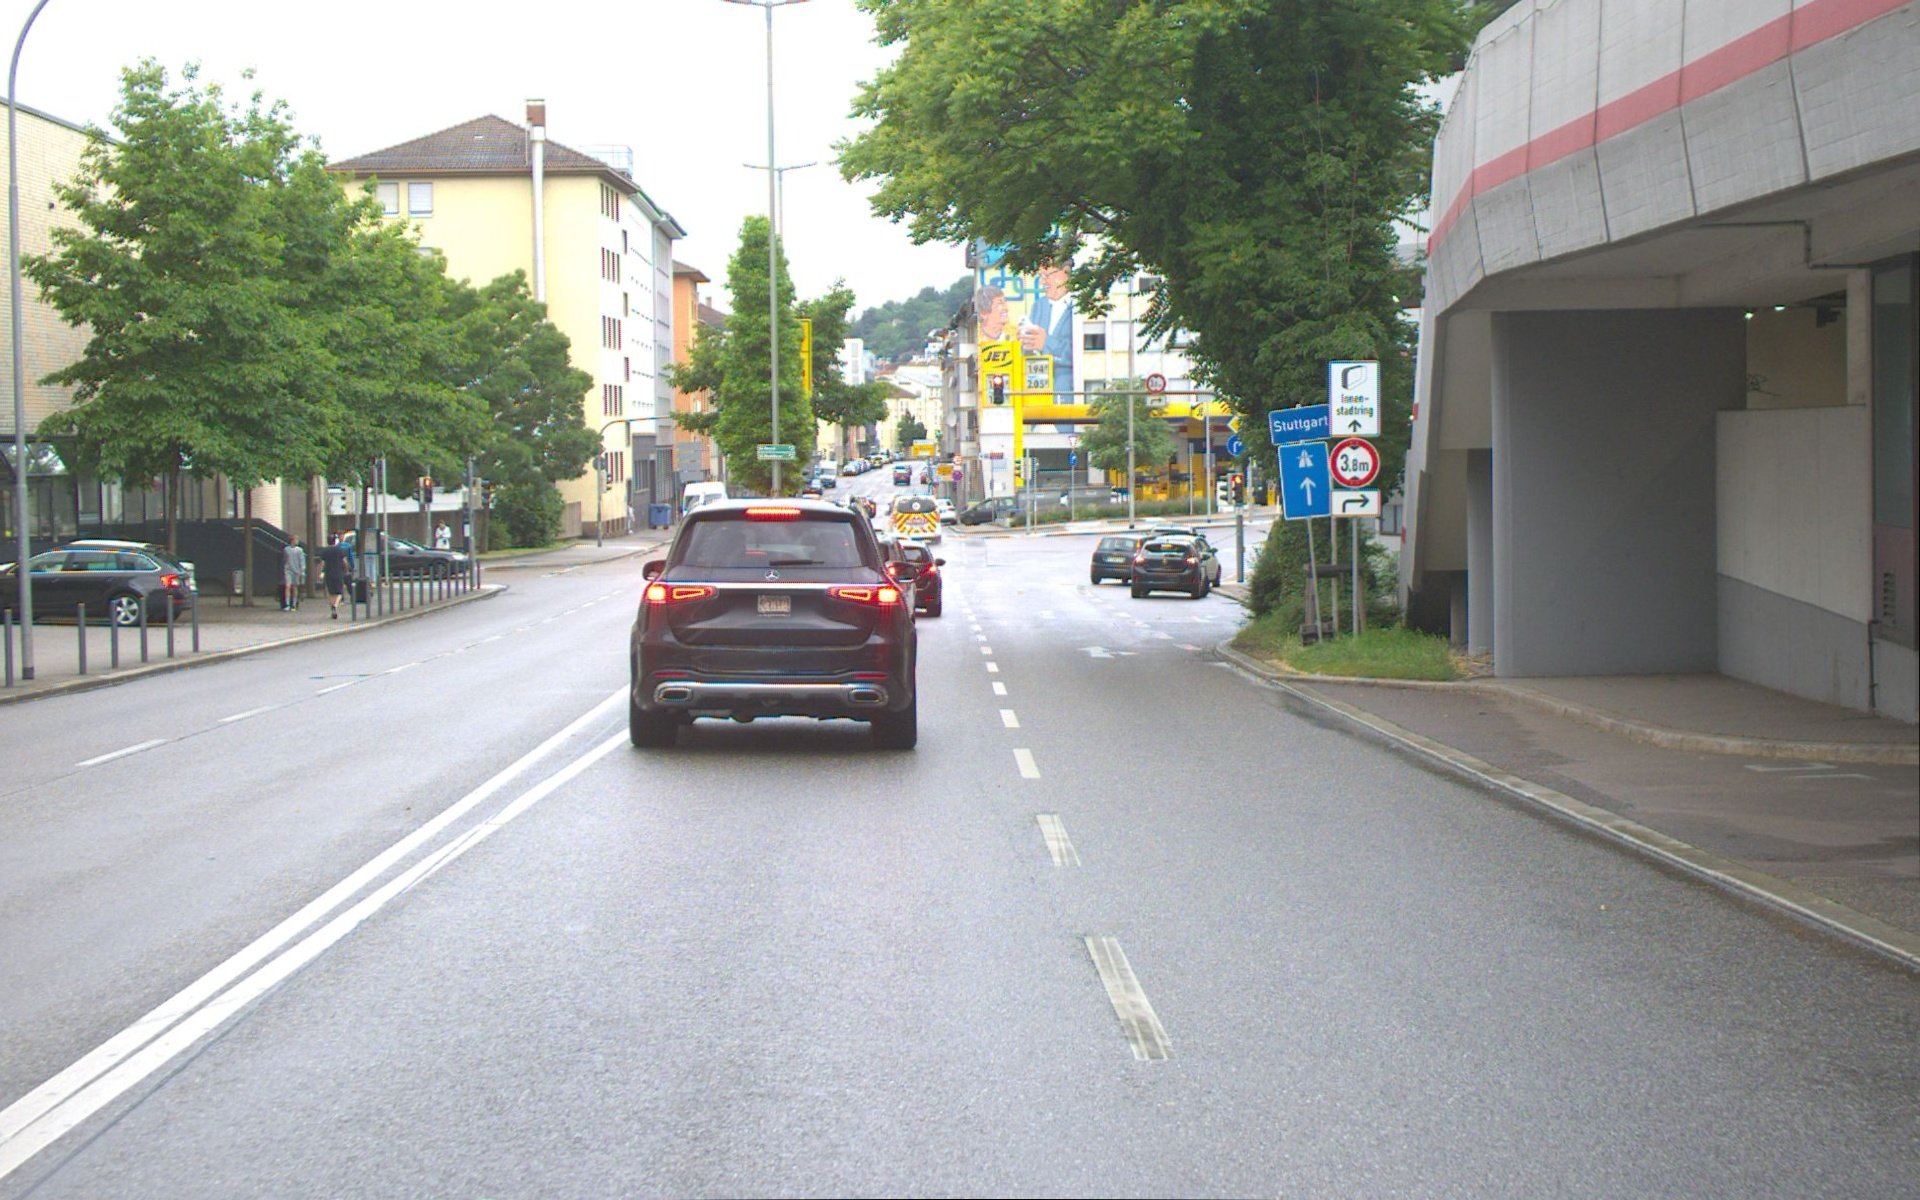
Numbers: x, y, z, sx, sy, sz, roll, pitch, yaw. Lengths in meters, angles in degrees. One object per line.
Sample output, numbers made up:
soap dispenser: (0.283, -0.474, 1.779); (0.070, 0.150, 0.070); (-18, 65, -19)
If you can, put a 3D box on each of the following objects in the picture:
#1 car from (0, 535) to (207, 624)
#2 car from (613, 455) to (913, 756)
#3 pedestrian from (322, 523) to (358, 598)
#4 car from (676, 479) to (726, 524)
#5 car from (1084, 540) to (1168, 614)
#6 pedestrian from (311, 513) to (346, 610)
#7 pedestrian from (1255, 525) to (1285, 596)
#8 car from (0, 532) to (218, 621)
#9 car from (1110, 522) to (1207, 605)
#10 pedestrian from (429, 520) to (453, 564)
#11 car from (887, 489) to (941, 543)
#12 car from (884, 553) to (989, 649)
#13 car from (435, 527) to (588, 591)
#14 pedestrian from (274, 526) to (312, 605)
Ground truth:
car: (-16.418, -0.384, 64.044); (4.467, 1.581, 2.001); (-1, 1, -7)
car: (-1.407, 0.024, 25.417); (1.993, 2.007, 4.000); (1, 0, -2)
pedestrian: (-14.590, -0.918, 80.884); (0.688, 1.720, 0.754); (1, -2, -1)
car: (-11.477, -4.354, 152.402); (1.993, 1.868, 5.142); (1, 0, -2)
car: (4.704, -0.655, 97.973); (1.993, 2.007, 4.000); (1, 0, -2)
pedestrian: (-13.125, -0.797, 71.458); (0.587, 2.007, 0.749); (1, 0, -2)
pedestrian: (8.387, -1.072, 93.079); (0.663, 1.911, 0.728); (1, 0, 13)
car: (-16.649, -0.465, 66.154); (4.415, 1.568, 2.001); (1, 3, -6)
car: (4.926, -0.932, 85.808); (1.993, 2.007, 4.001); (0, 1, -2)
pedestrian: (-17.620, -1.962, 116.638); (0.711, 1.457, 0.598); (1, 0, -2)
car: (-1.796, -3.269, 132.897); (1.993, 2.006, 4.001); (1, 2, -2)
car: (-0.462, 0.003, 63.994); (1.703, 1.710, 3.444); (1, 0, -4)
car: (-14.423, -1.320, 110.504); (4.803, 2.007, 2.001); (0, 2, -8)
pedestrian: (-14.553, -0.755, 75.059); (0.676, 1.691, 0.479); (2, -3, -2)
